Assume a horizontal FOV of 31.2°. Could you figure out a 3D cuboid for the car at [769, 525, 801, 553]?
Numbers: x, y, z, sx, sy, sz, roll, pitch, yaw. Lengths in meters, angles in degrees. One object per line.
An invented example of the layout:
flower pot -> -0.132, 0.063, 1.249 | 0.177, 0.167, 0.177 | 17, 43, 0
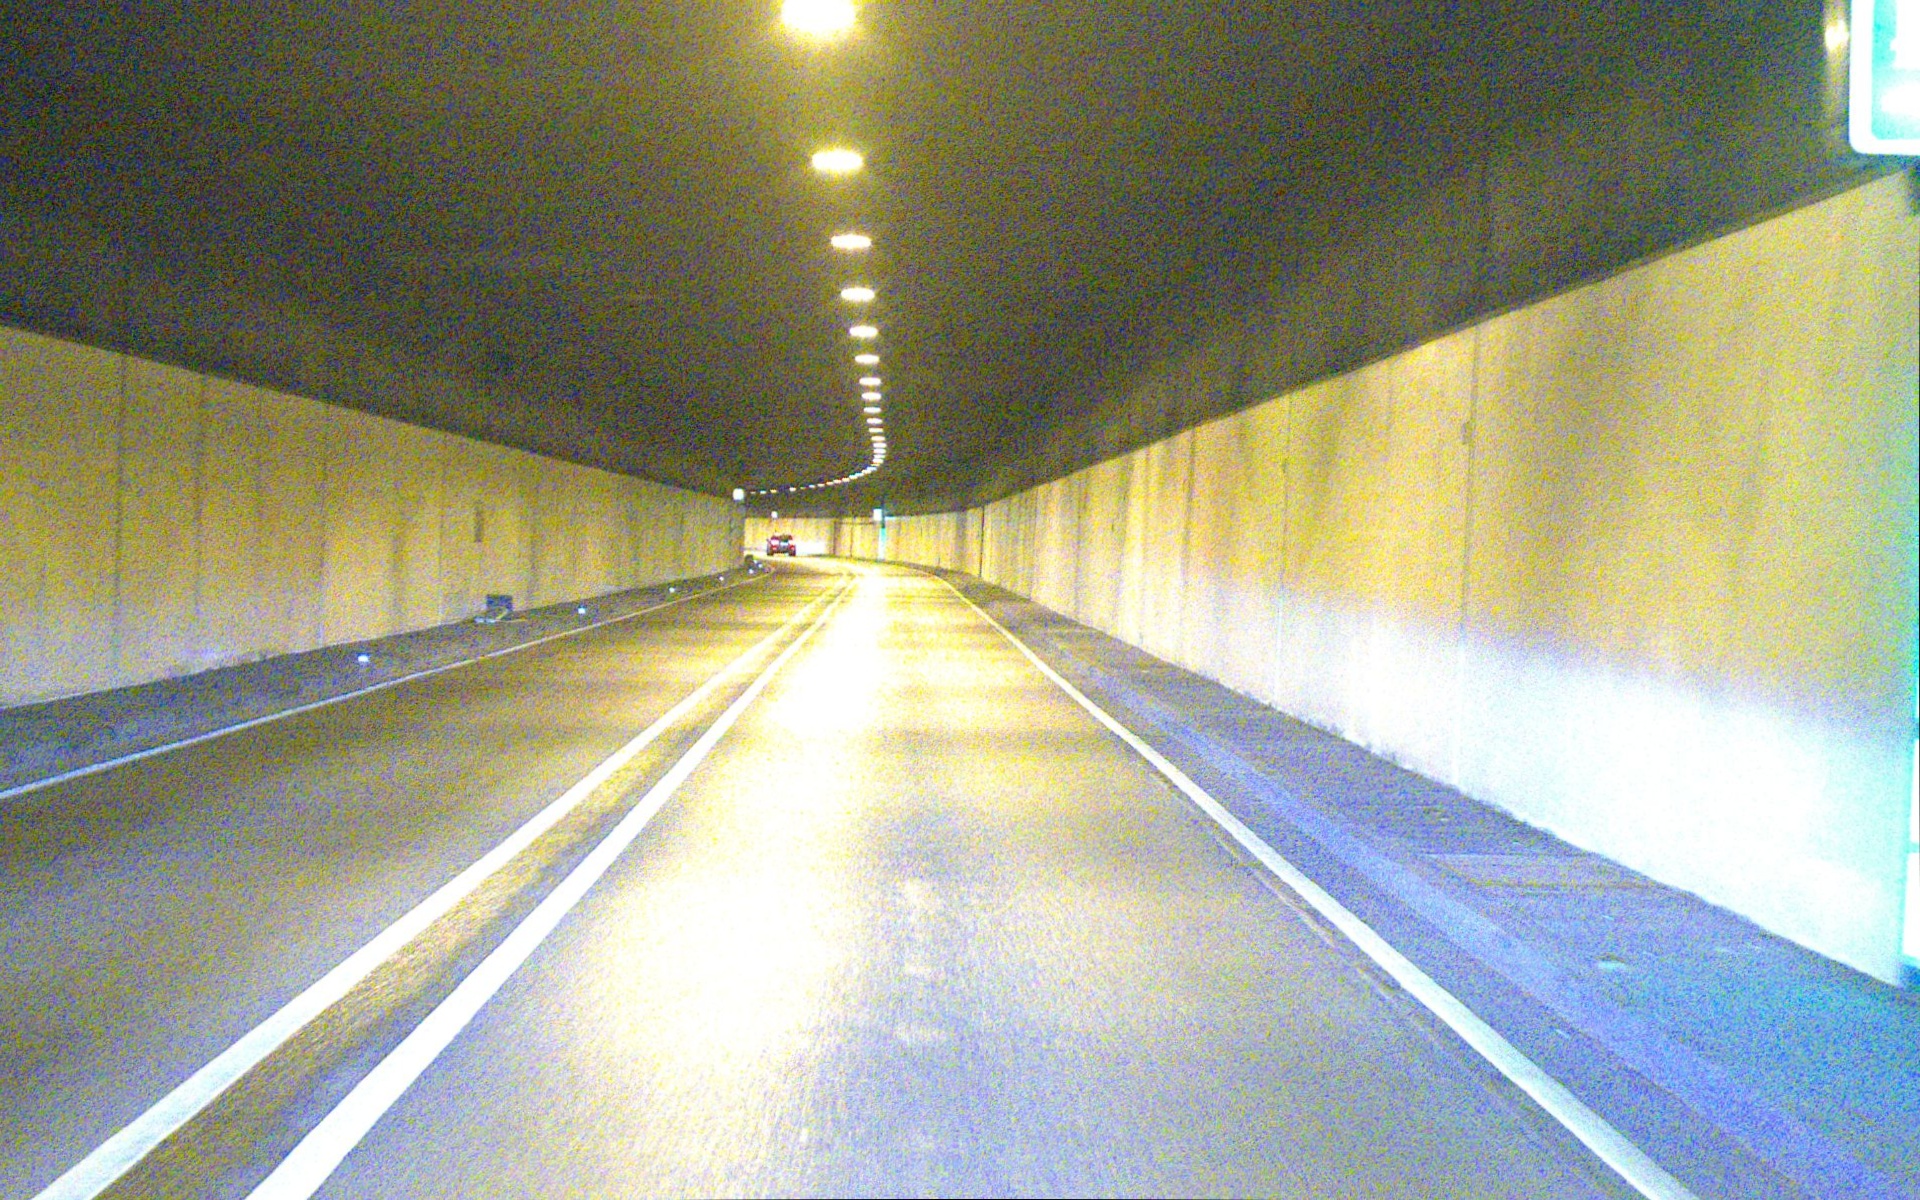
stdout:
car -> -12.605, -4.381, 247.585 | 1.966, 1.932, 4.613 | 1, 0, -7
